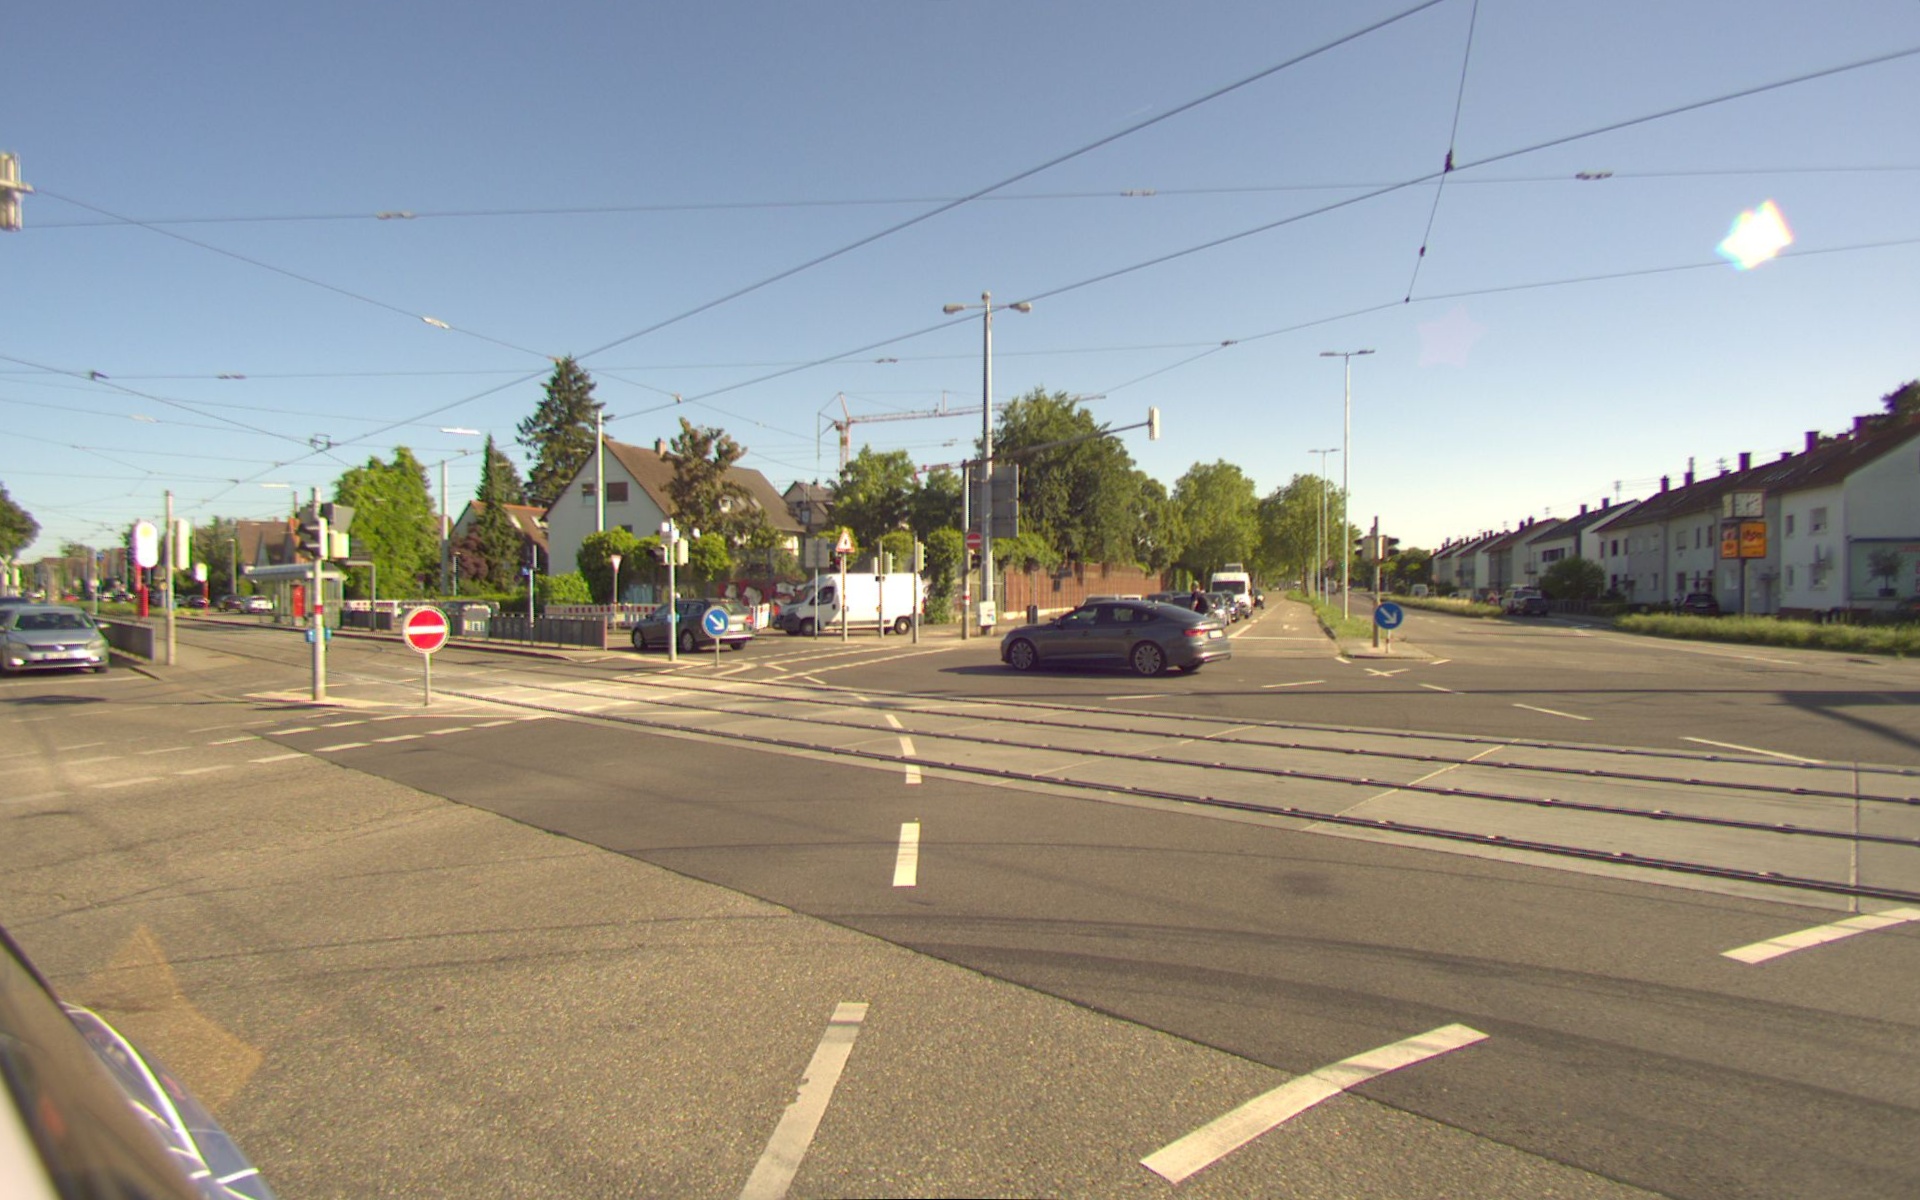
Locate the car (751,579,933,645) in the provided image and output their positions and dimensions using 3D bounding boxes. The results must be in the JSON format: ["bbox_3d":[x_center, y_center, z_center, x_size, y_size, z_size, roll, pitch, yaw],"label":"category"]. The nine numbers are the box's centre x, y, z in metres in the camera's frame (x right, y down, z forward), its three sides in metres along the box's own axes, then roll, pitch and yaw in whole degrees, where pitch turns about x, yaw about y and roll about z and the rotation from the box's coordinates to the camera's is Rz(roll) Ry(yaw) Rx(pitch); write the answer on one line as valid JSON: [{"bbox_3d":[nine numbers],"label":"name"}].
[{"bbox_3d":[-4.660,0.435,40.150,6.751,2.476,2.356,0,0,-24],"label":"car"}]

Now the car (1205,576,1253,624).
[{"bbox_3d":[14.499,-0.010,54.338,2.163,2.429,5.886,0,0,18],"label":"car"}]

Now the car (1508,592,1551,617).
[{"bbox_3d":[42.209,0.317,75.100,1.983,1.775,3.977,-1,0,18],"label":"car"}]

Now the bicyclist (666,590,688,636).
[{"bbox_3d":[-10.037,0.457,35.894,0.649,1.620,0.484,0,0,44],"label":"bicyclist"}]

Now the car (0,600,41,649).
[{"bbox_3d":[-34.955,0.843,36.888,4.301,1.709,1.860,0,0,43],"label":"car"}]

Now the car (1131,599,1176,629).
[{"bbox_3d":[10.078,0.672,52.469,1.921,1.477,4.236,0,0,16],"label":"car"}]

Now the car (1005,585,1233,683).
[{"bbox_3d":[3.005,0.587,19.458,3.996,1.700,1.774,0,0,38],"label":"car"}]

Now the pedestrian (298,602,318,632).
[{"bbox_3d":[-30.826,0.797,47.843,0.711,1.425,0.615,-1,0,43],"label":"pedestrian"}]

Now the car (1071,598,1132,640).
[{"bbox_3d":[5.438,0.684,38.433,1.658,1.488,4.611,0,0,16],"label":"car"}]

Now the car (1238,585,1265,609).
[{"bbox_3d":[21.859,-0.233,75.961,1.792,1.755,3.980,-1,0,15],"label":"car"}]

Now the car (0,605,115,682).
[{"bbox_3d":[-20.380,0.884,22.577,4.421,1.539,1.856,0,0,43],"label":"car"}]

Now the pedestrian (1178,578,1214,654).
[{"bbox_3d":[6.210,0.421,26.663,0.765,1.963,0.611,-1,0,1],"label":"pedestrian"}]

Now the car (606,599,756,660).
[{"bbox_3d":[-8.023,0.781,28.906,4.689,1.608,1.795,0,0,40],"label":"car"}]

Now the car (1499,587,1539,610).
[{"bbox_3d":[43.840,-0.134,79.440,1.983,1.775,3.977,0,0,18],"label":"car"}]

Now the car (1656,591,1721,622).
[{"bbox_3d":[43.224,0.360,60.133,1.984,1.775,3.976,-1,0,18],"label":"car"}]

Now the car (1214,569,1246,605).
[{"bbox_3d":[16.071,-0.754,60.149,1.792,2.029,3.979,0,0,16],"label":"car"}]

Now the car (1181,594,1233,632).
[{"bbox_3d":[10.484,0.509,42.752,1.921,1.477,4.236,-1,0,16],"label":"car"}]

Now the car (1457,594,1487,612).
[{"bbox_3d":[50.627,0.278,100.134,1.983,1.775,3.977,-1,0,18],"label":"car"}]

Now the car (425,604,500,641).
[{"bbox_3d":[-20.872,0.911,42.387,3.704,1.469,1.664,0,0,44],"label":"car"}]

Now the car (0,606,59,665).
[{"bbox_3d":[-25.573,0.930,27.341,3.415,1.479,1.564,0,1,43],"label":"car"}]

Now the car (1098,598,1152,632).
[{"bbox_3d":[7.585,0.643,46.124,1.921,1.477,4.342,0,0,16],"label":"car"}]
